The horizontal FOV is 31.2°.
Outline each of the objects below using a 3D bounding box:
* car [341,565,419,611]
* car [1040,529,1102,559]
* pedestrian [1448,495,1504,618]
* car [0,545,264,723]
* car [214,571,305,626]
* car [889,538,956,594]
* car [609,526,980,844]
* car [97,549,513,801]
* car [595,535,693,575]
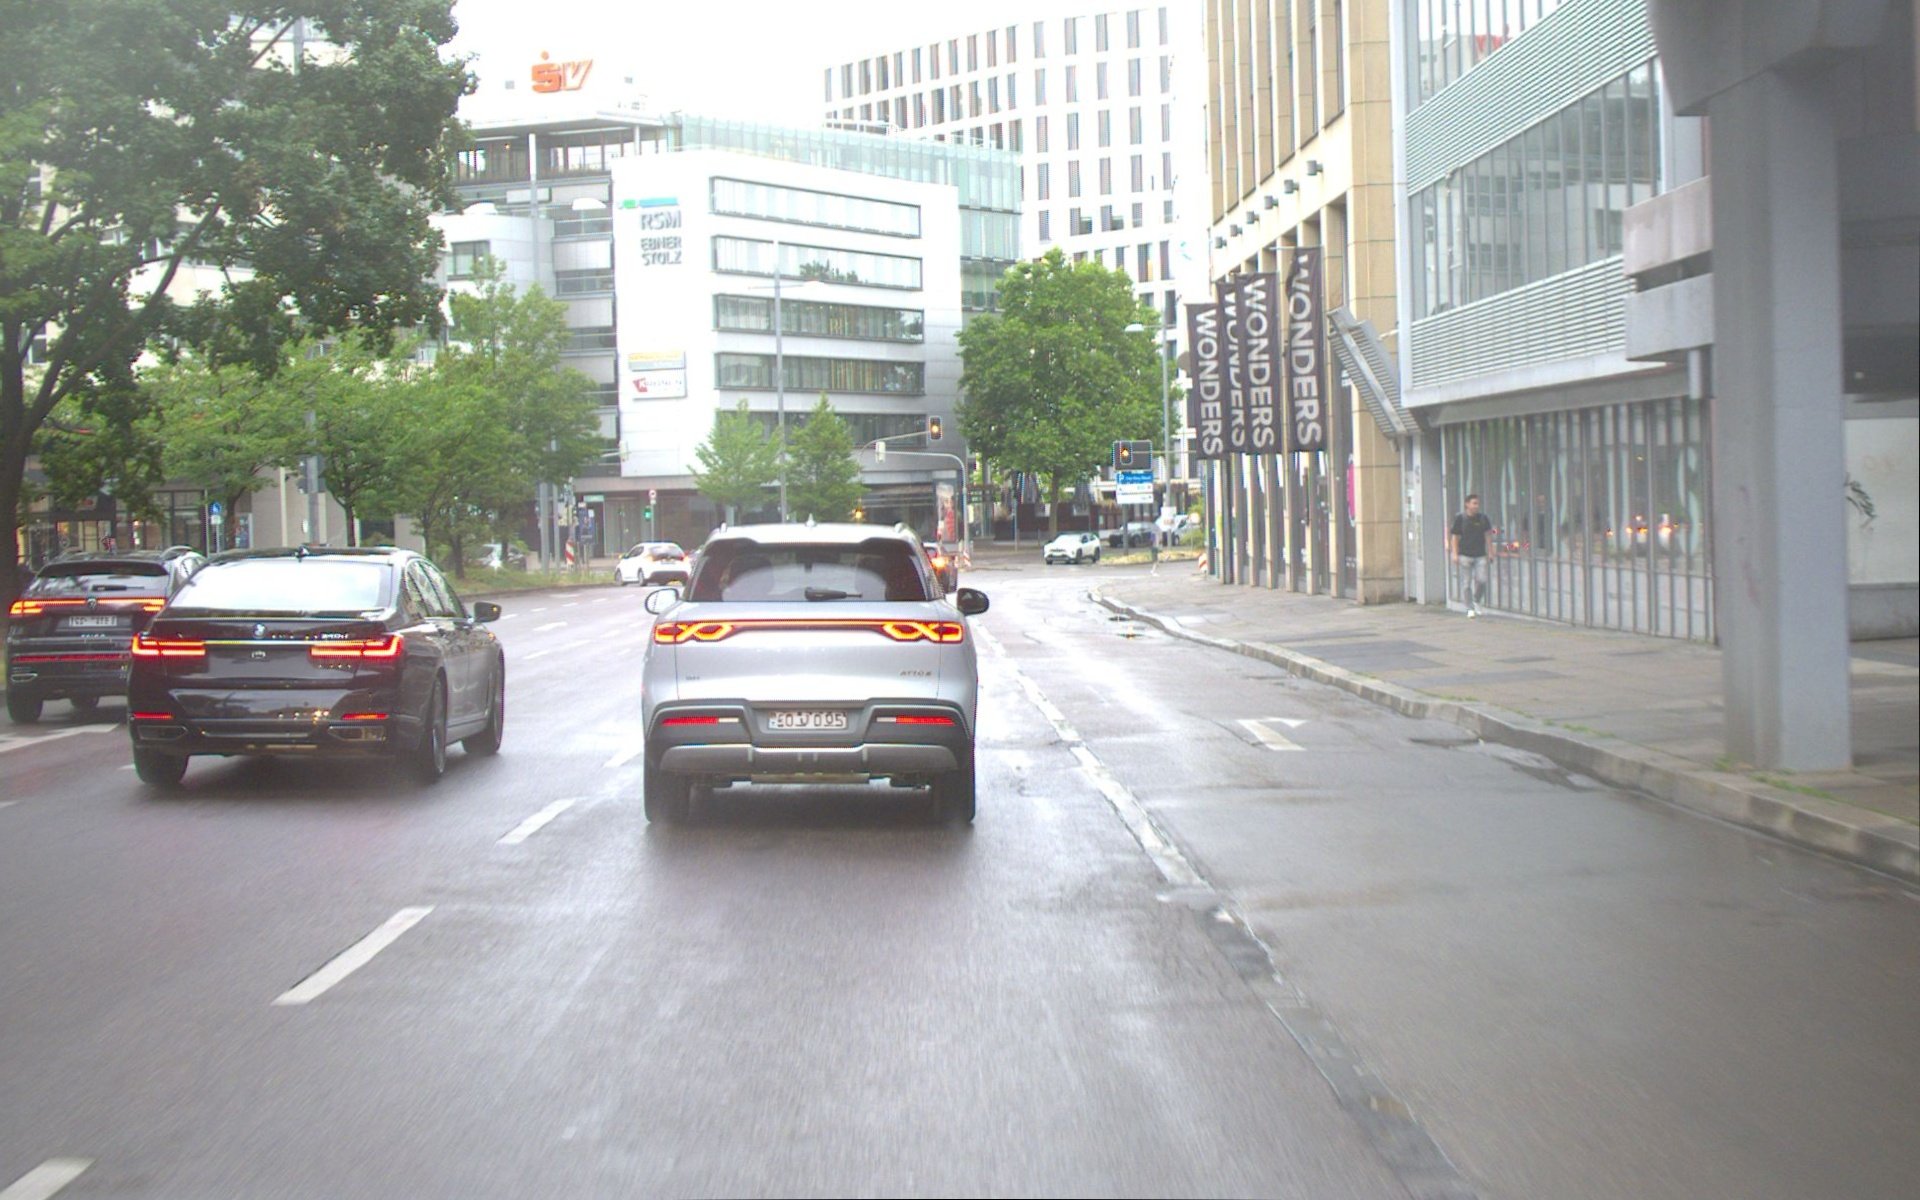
[{"bbox_3d":[-19.512,-0.415,115.882,1.623,1.487,4.306,-2,1,3],"label":"car"},{"bbox_3d":[5.983,-3.026,184.940,1.583,1.533,3.994,0,1,30],"label":"car"},{"bbox_3d":[7.536,-0.629,50.237,0.635,1.766,0.790,-2,0,-1],"label":"pedestrian"},{"bbox_3d":[-7.454,0.272,31.072,1.774,1.452,4.001,-2,1,-5],"label":"car"},{"bbox_3d":[-17.593,-0.045,86.409,1.623,1.307,3.618,-2,1,-2],"label":"car"},{"bbox_3d":[-1.117,-1.014,101.264,1.811,1.573,4.001,-1,1,-2],"label":"car"},{"bbox_3d":[-0.891,0.404,19.793,1.901,1.616,4.000,-1,1,-1],"label":"car"},{"bbox_3d":[-4.224,0.409,22.941,1.872,1.474,4.878,-1,1,-1],"label":"car"},{"bbox_3d":[-10.927,-1.542,118.693,1.654,1.337,4.000,-2,1,-34],"label":"car"}]
